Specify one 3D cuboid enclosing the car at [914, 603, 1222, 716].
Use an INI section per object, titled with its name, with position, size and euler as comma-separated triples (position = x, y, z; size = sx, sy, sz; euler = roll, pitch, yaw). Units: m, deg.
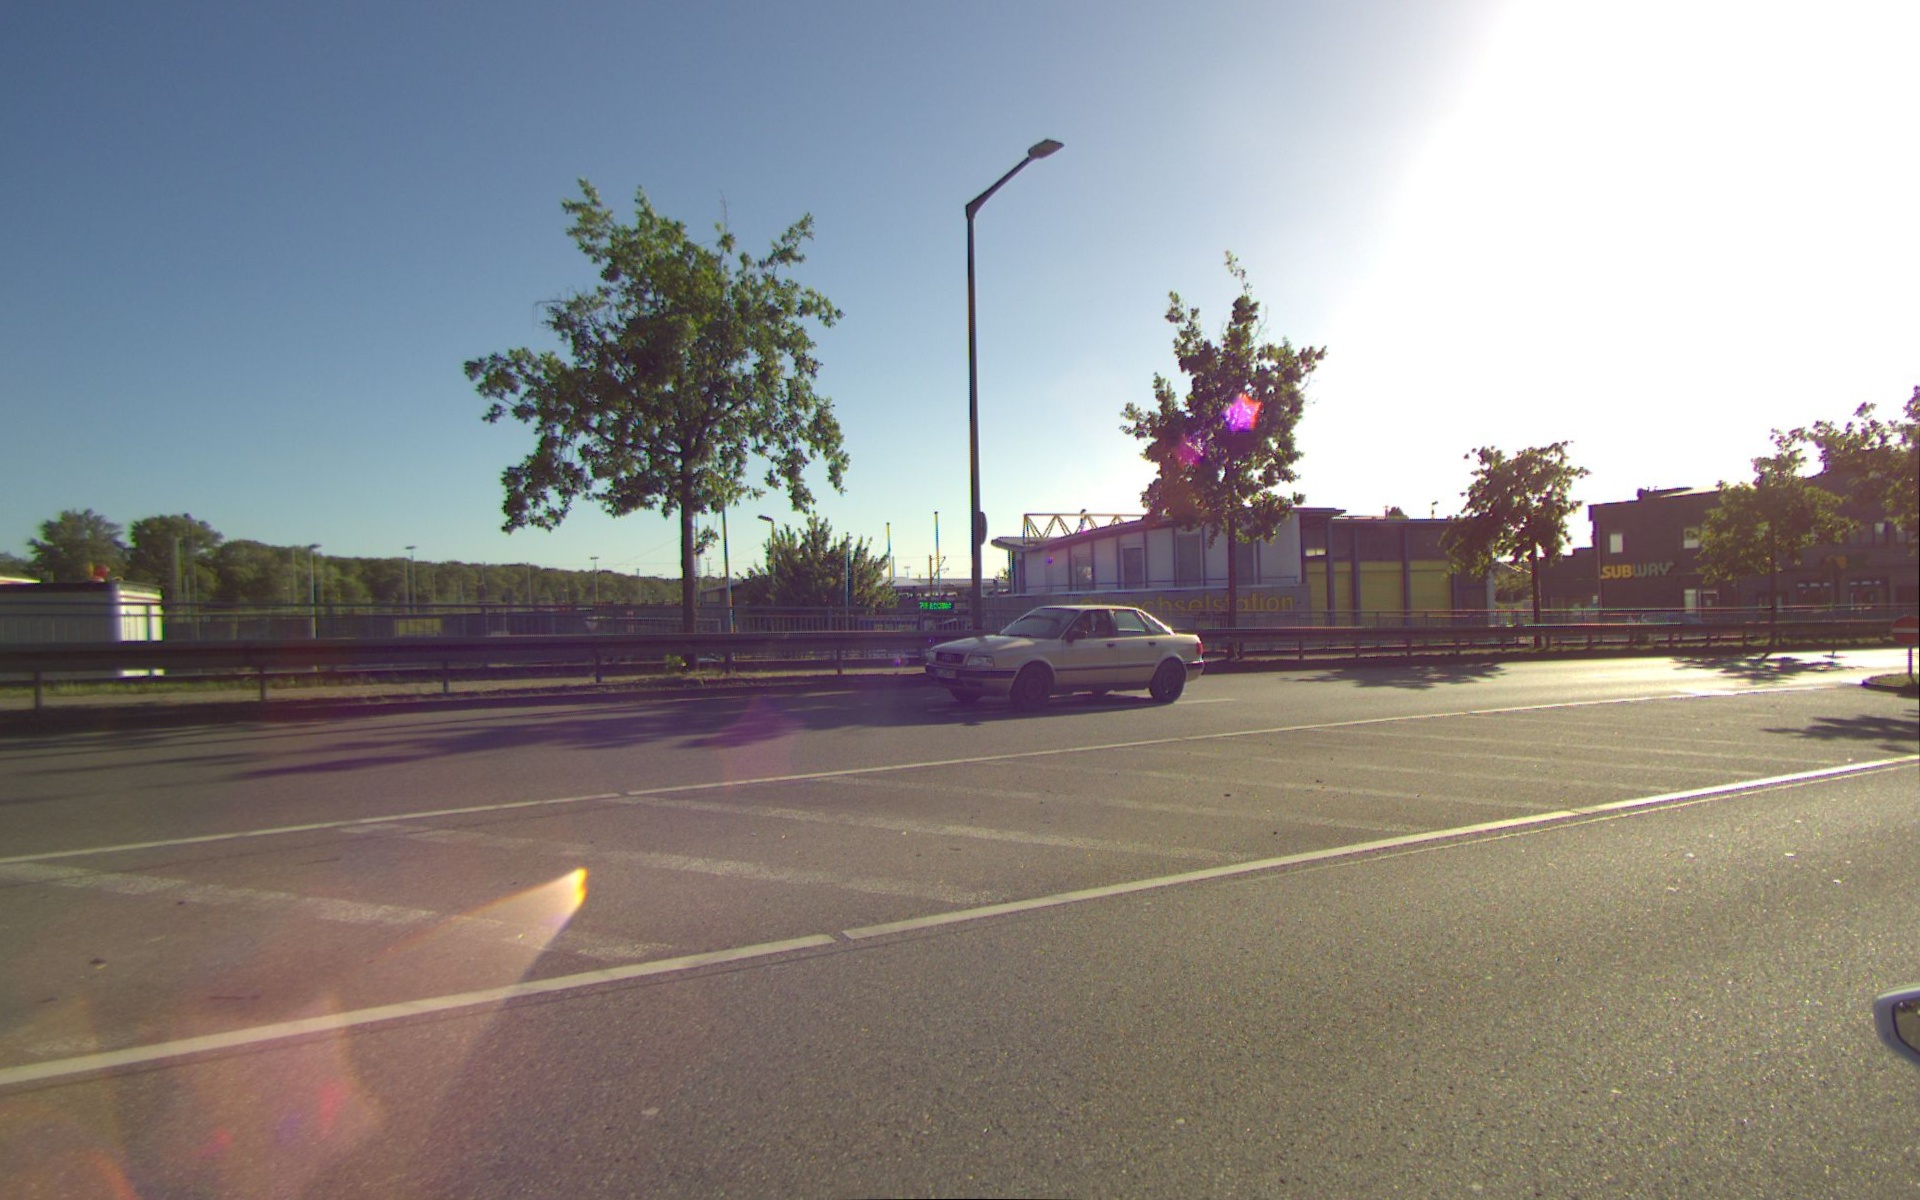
[car]
position = 1.664, 0.768, 14.658
size = 4.451, 1.404, 1.718
euler = 1, 0, -35
